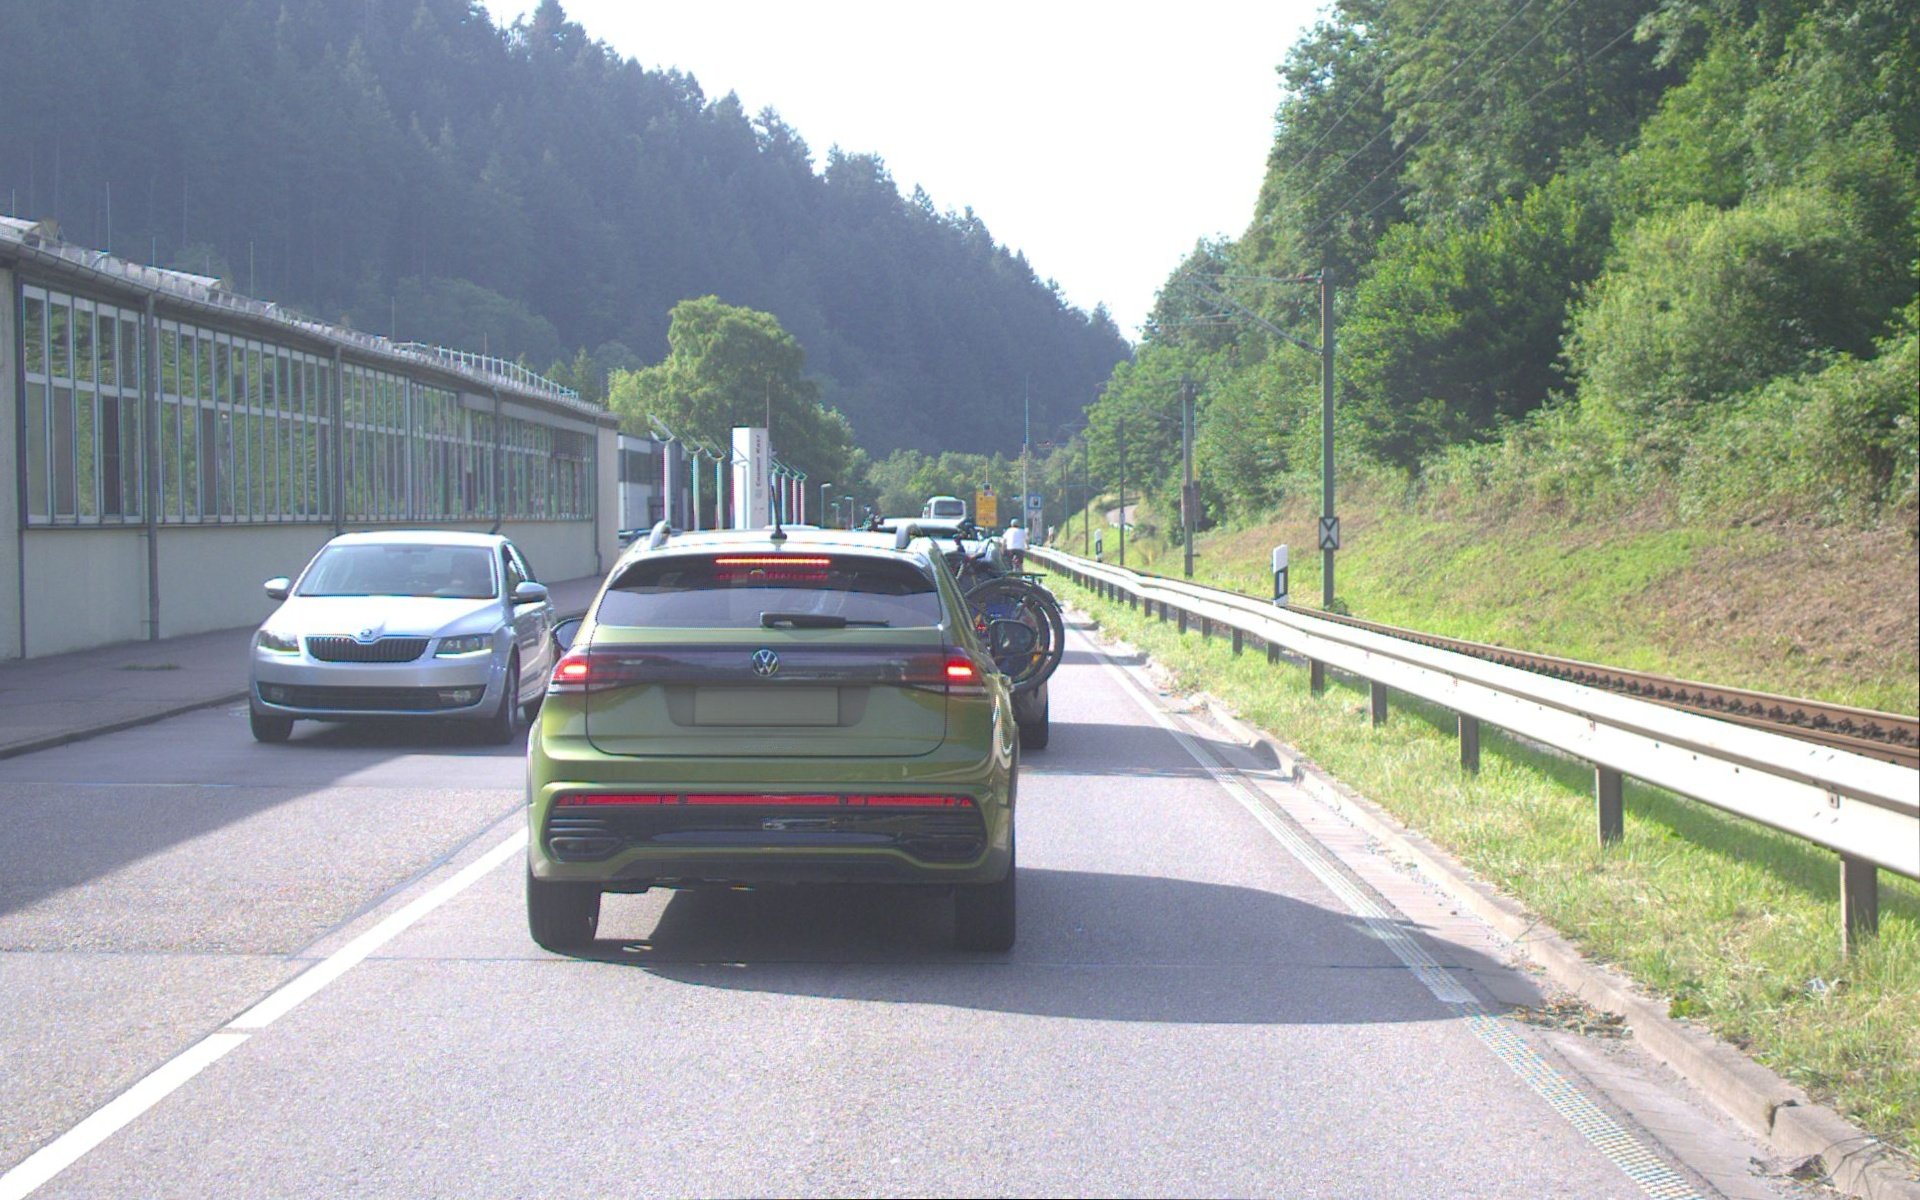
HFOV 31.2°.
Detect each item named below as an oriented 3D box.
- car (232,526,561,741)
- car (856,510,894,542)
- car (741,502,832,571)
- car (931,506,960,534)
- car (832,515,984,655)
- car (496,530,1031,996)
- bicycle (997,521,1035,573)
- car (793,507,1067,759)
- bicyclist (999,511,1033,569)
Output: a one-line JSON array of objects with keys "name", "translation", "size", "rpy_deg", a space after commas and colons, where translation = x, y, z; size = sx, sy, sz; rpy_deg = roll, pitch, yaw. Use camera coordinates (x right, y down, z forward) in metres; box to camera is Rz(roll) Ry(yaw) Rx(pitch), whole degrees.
[{"name": "car", "translation": [-3.935, 0.176, 24.616], "size": [1.739, 1.388, 4.110], "rpy_deg": [0, 1, -1]}, {"name": "car", "translation": [-4.071, -3.587, 166.002], "size": [1.719, 1.509, 4.199], "rpy_deg": [1, 1, 0]}, {"name": "car", "translation": [-4.173, -1.544, 83.100], "size": [1.930, 1.576, 4.458], "rpy_deg": [1, 1, 0]}, {"name": "car", "translation": [-1.030, -5.724, 246.423], "size": [1.993, 2.007, 4.000], "rpy_deg": [1, 1, -1]}, {"name": "car", "translation": [-0.635, -0.224, 41.550], "size": [1.739, 1.596, 4.000], "rpy_deg": [0, 1, -1]}, {"name": "car", "translation": [-0.674, 0.493, 13.211], "size": [1.739, 1.503, 4.000], "rpy_deg": [0, 1, -1]}, {"name": "bicycle", "translation": [1.350, -1.304, 83.510], "size": [0.811, 1.246, 2.123], "rpy_deg": [0, 1, -2]}, {"name": "car", "translation": [-0.225, 0.165, 23.980], "size": [1.739, 1.596, 4.000], "rpy_deg": [0, 1, -1]}, {"name": "bicyclist", "translation": [1.353, -1.460, 83.442], "size": [0.781, 1.407, 0.675], "rpy_deg": [0, 1, -2]}]
